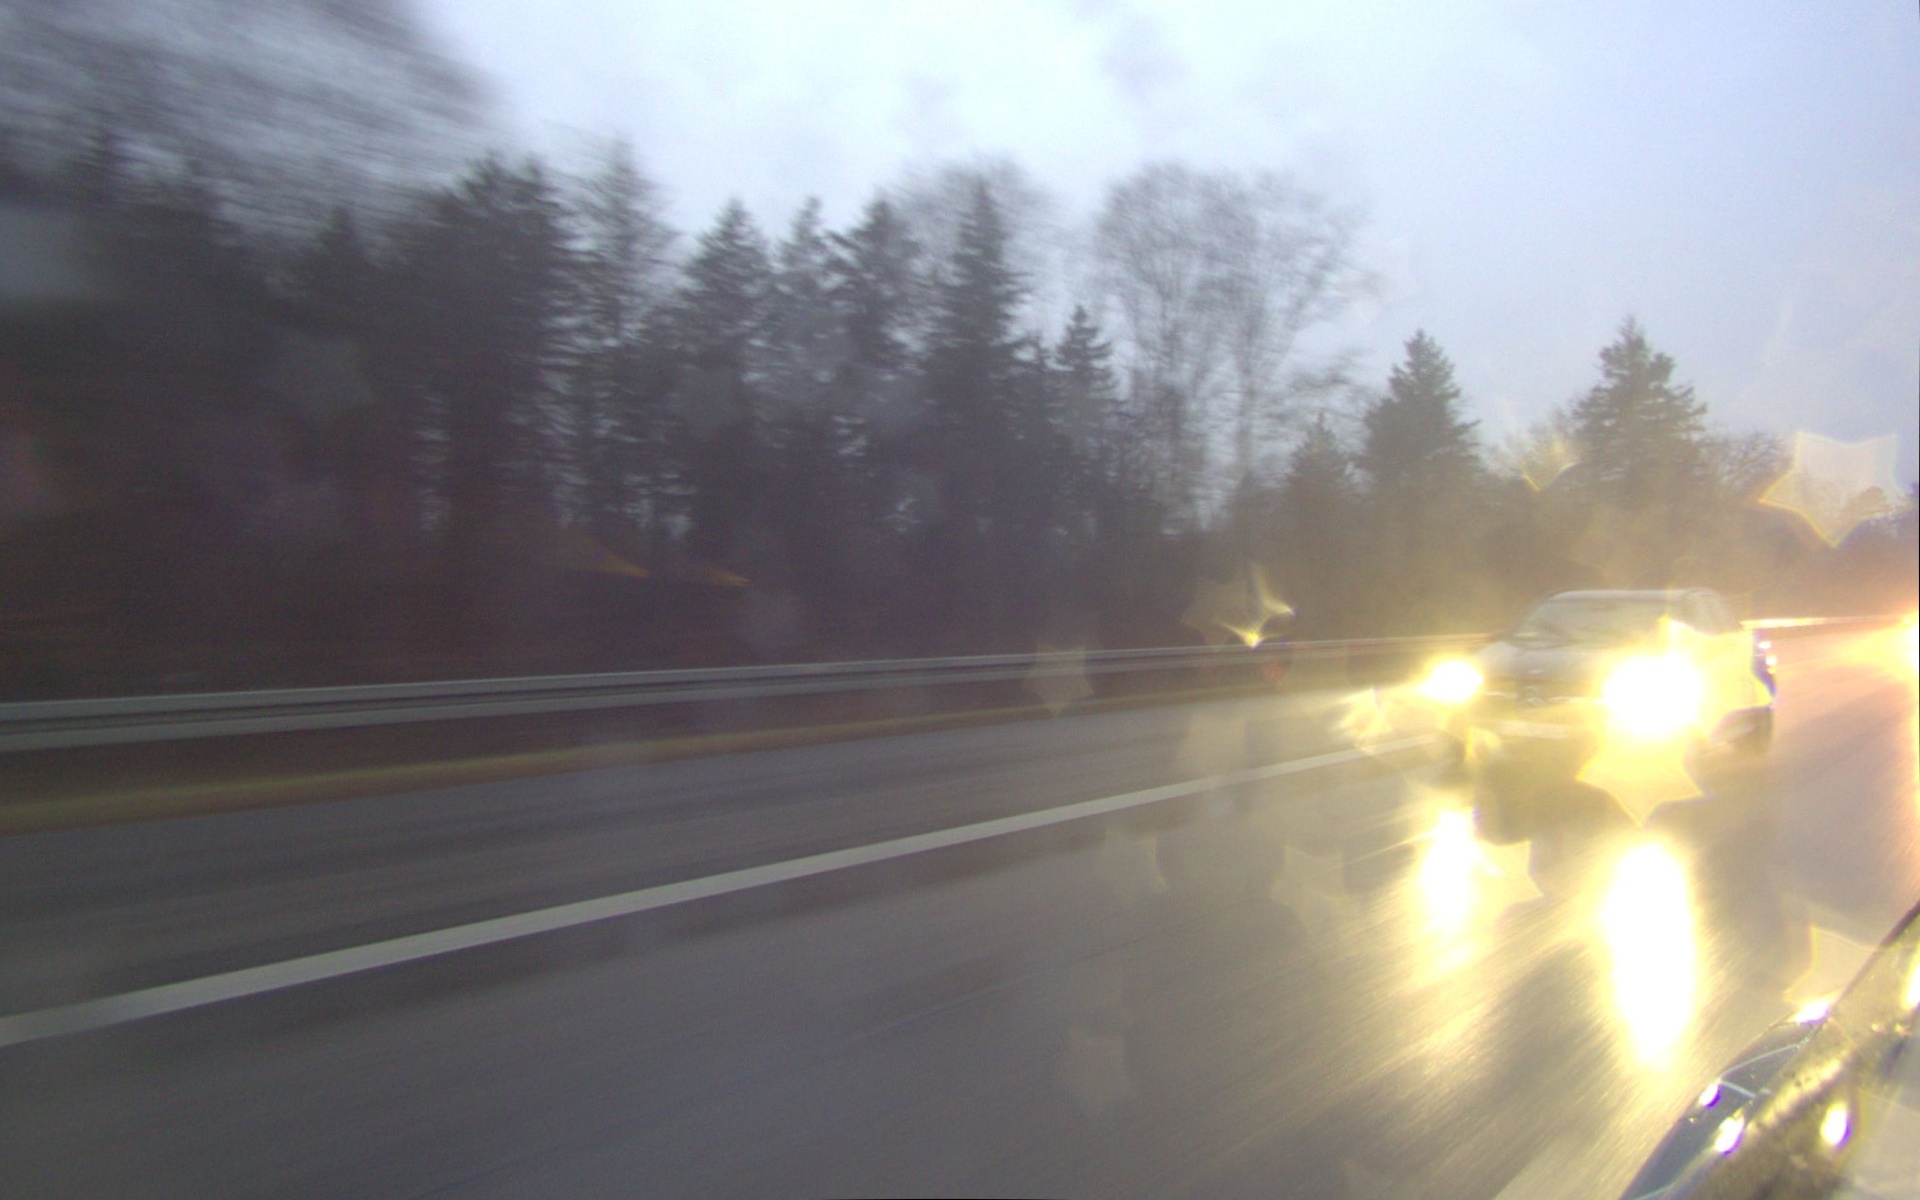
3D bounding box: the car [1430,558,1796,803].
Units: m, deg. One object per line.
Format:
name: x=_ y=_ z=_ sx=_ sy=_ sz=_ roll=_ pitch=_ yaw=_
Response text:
car: x=6.245 y=0.572 z=9.526 sx=3.872 sy=1.814 sz=1.927 roll=-1 pitch=1 yaw=-41
